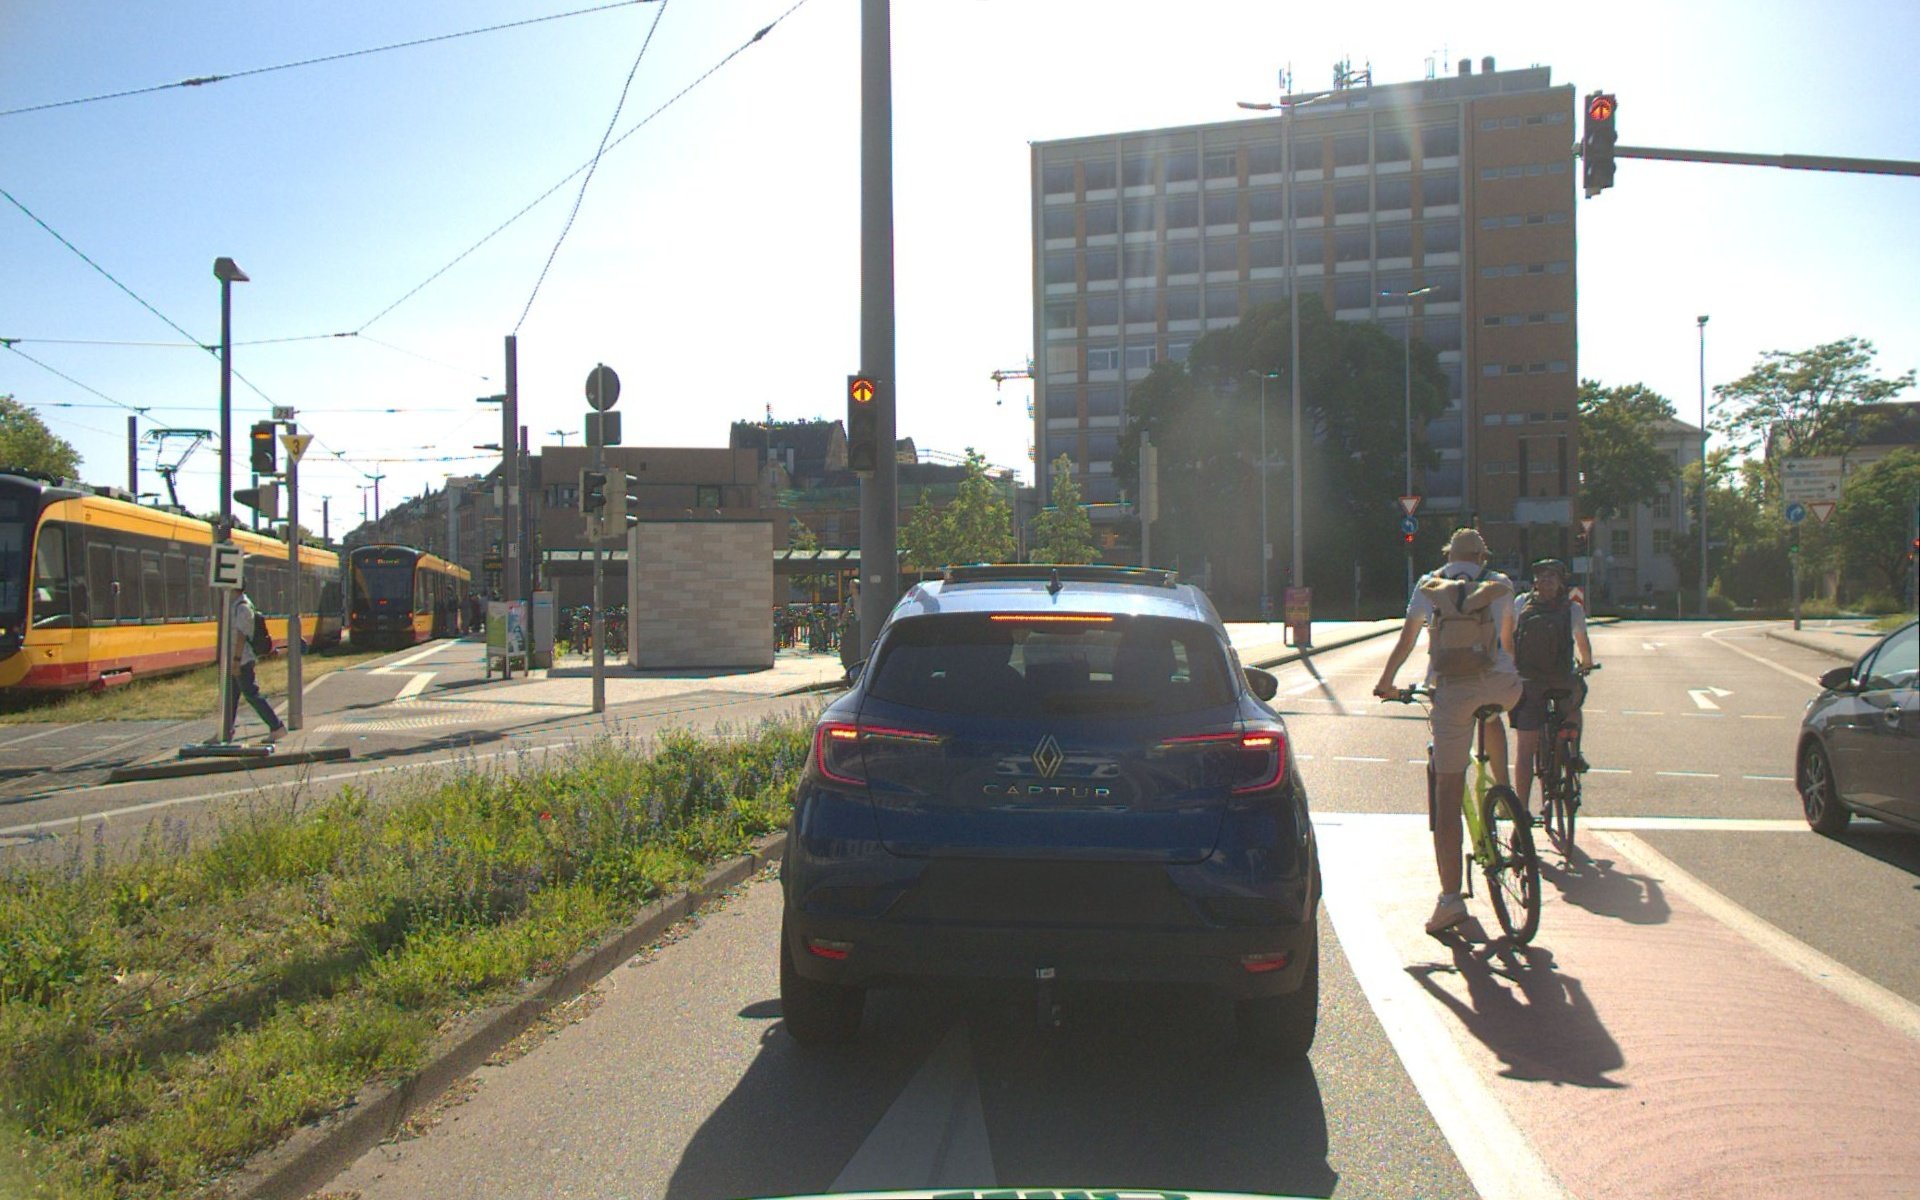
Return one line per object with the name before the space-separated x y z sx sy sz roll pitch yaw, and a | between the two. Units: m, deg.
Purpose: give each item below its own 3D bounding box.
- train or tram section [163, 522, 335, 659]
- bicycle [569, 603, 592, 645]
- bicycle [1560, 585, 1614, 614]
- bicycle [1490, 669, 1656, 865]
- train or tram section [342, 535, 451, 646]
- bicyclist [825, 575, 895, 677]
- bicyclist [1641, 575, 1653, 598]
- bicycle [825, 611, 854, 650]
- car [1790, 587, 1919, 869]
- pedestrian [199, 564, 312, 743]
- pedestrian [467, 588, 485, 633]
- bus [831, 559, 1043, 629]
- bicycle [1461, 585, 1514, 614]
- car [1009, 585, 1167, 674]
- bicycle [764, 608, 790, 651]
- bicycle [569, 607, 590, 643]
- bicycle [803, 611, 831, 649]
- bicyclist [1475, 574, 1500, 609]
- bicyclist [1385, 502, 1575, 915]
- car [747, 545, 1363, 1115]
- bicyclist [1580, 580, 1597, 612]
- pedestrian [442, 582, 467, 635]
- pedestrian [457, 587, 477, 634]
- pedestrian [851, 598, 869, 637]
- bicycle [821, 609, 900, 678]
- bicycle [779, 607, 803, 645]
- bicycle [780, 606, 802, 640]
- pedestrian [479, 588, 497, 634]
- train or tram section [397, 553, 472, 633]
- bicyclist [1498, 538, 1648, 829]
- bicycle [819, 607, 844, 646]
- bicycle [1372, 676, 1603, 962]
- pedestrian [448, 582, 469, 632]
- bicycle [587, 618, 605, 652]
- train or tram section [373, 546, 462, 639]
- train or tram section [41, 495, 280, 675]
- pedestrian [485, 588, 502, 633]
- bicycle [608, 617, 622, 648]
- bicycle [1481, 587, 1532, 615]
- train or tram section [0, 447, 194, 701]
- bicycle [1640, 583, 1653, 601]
train or tram section | -20.687 -0.244 48.821 2.768 3.569 11.170 0 0 -14
bicycle | -10.485 0.666 45.734 0.556 1.112 2.023 1 -1 -11
bicycle | 34.441 -0.003 90.892 2.746 1.568 0.883 0 -1 25
bicycle | 3.695 0.962 10.102 0.707 0.976 1.885 1 0 13
train or tram section | -19.870 -0.300 58.823 2.823 3.569 10.502 0 0 -14
bicyclist | -1.678 0.431 27.873 0.861 1.673 1.061 -1 -1 13
bicyclist | 44.181 -0.899 106.397 0.606 1.469 0.818 -1 0 29
bicycle | -3.135 0.789 43.058 0.570 0.978 2.054 1 -1 -9
car | 6.241 0.711 9.363 1.718 1.568 3.662 0 0 9
pedestrian | -7.525 0.570 17.706 1.000 1.864 0.757 1 -1 -16
pedestrian | -20.846 0.459 71.263 0.620 1.889 0.701 1 -1 -9
bus | -1.378 -0.241 86.745 12.212 3.455 2.867 -1 -2 40
bicycle | 29.159 -0.025 91.466 2.746 1.568 0.883 0 -1 25
car | 2.409 0.489 30.137 1.763 1.417 4.094 -1 1 21
bicycle | -4.729 0.770 42.571 0.570 1.076 1.812 1 -1 -9
bicycle | -11.950 0.778 52.019 0.556 1.112 2.023 1 -1 -11
bicycle | -3.735 0.783 42.962 0.570 0.978 2.054 1 -1 -9
bicyclist | 29.166 -0.459 91.459 1.183 1.930 0.883 0 -1 24
bicyclist | 2.375 0.467 7.652 0.649 1.778 1.006 0 0 6
car | 0.423 0.658 6.677 1.785 1.628 3.661 1 0 5
bicyclist | 34.521 -0.214 90.832 0.841 1.721 0.884 0 -1 24
pedestrian | -18.280 0.318 59.832 0.833 1.916 0.757 1 -1 -16
pedestrian | -19.807 0.424 66.461 0.661 1.889 0.701 1 -1 -9
pedestrian | -4.800 0.844 79.218 0.710 1.889 0.703 0 -1 8
bicycle | -1.656 0.720 27.865 0.756 1.099 2.037 -1 -1 13
bicycle | -4.968 0.769 48.603 0.570 1.107 2.054 1 -1 -9
bicycle | -5.741 0.786 56.065 0.570 1.107 1.866 1 -1 -11
pedestrian | -19.355 0.452 67.820 0.623 1.889 0.699 1 -1 -20
train or tram section | -25.003 -0.307 79.102 2.823 3.569 10.502 0 0 -14
bicyclist | 3.684 0.469 10.009 0.706 1.654 1.056 1 0 13
bicycle | -3.784 0.778 48.692 0.570 1.107 2.054 1 -1 -9
bicycle | 2.376 0.929 7.664 0.648 1.065 1.891 0 0 6
pedestrian | -19.677 0.275 64.913 0.727 1.951 0.739 1 -1 -16
bicycle | -10.444 1.003 47.452 0.415 0.954 1.300 1 0 -15
train or tram section | -22.458 -0.293 68.958 2.823 3.569 10.502 0 0 -14
train or tram section | -18.137 -0.283 38.350 2.768 3.569 10.573 0 0 -14
pedestrian | -19.948 0.455 70.768 0.621 1.889 0.701 1 -1 -11
bicycle | -10.950 1.019 52.466 0.414 0.954 1.375 1 0 -12
bicycle | 31.075 0.036 94.037 2.742 1.568 0.885 0 -1 16
train or tram section | -15.575 -0.344 28.130 2.771 3.569 10.437 -1 0 -15
bicycle | 44.184 -0.531 106.407 0.597 1.112 1.669 -1 0 29
